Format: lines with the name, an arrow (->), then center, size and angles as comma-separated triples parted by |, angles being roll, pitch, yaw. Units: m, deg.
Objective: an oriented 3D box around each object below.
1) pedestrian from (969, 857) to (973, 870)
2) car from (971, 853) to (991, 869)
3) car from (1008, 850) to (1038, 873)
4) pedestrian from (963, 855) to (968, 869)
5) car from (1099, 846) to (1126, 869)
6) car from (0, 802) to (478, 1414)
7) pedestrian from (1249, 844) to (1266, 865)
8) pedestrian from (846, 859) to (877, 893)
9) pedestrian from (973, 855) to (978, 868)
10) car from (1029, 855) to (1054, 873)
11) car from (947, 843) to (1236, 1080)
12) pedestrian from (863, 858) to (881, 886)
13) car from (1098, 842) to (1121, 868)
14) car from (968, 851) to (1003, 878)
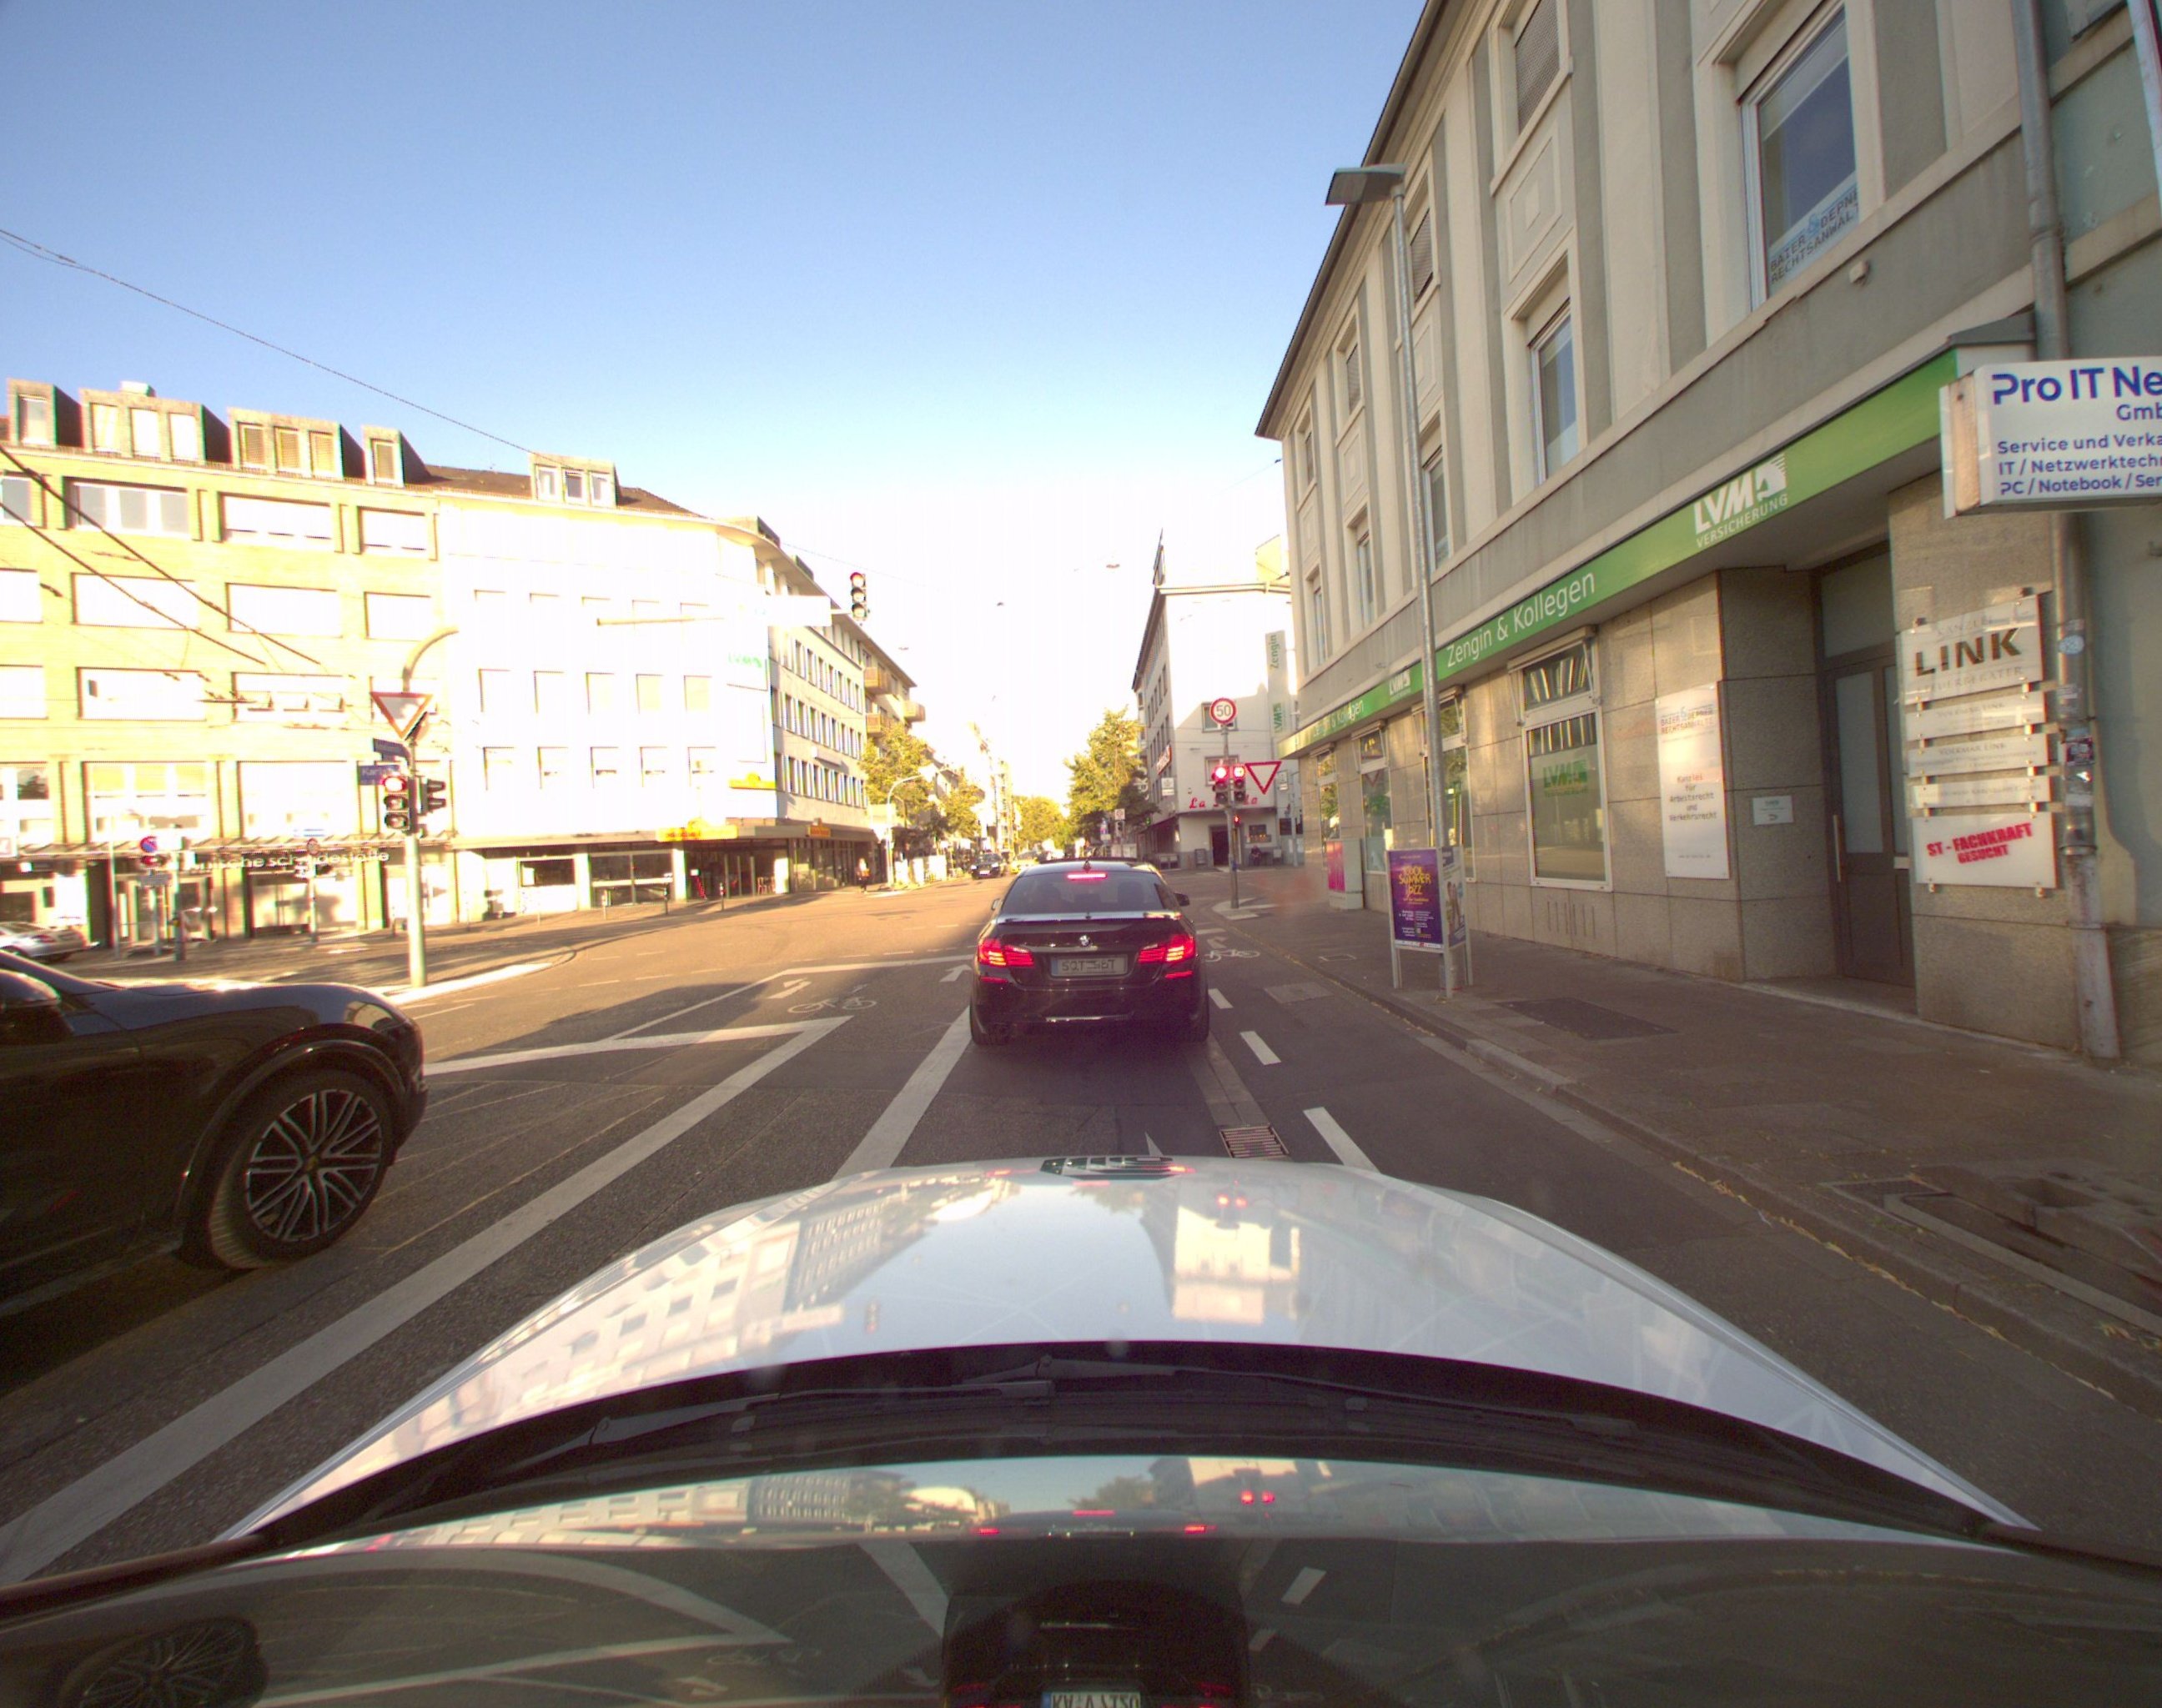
pedestrian -> -11.789, 1.017, 87.465 | 0.306, 1.359, 0.284 | -3, 0, -9
car -> -9.738, 0.671, 79.430 | 1.731, 1.461, 3.993 | -3, 0, -5
car -> -4.147, 0.520, 57.934 | 1.990, 1.442, 3.993 | -3, 0, -5
pedestrian -> -12.326, 0.879, 87.075 | 0.443, 1.416, 0.525 | -3, 0, -2
car -> 2.111, 0.237, 54.709 | 1.620, 1.471, 3.394 | -2, 0, 0
car -> -4.039, 0.775, 1.774 | 1.942, 1.714, 4.561 | -4, 0, 0
pedestrian -> 10.010, 0.028, 46.239 | 0.695, 1.157, 0.843 | -3, 0, -1
pedestrian -> -10.375, 1.048, 38.514 | 0.897, 1.537, 0.955 | -3, 0, 34
pedestrian -> -11.325, 0.824, 87.255 | 0.443, 1.416, 0.525 | -3, 0, -2
car -> -3.178, 0.736, 64.680 | 1.731, 1.293, 3.993 | -3, 0, -5
car -> 0.059, 0.702, 7.687 | 1.898, 1.540, 4.448 | -1, 0, -1
pedestrian -> -13.212, 1.114, 51.552 | 0.821, 1.676, 0.871 | -3, 0, -1
car -> 2.139, 0.051, 61.114 | 1.417, 1.854, 3.050 | -2, 0, -2
car -> -6.124, 0.653, 52.541 | 1.990, 1.618, 3.993 | -3, 0, -5
